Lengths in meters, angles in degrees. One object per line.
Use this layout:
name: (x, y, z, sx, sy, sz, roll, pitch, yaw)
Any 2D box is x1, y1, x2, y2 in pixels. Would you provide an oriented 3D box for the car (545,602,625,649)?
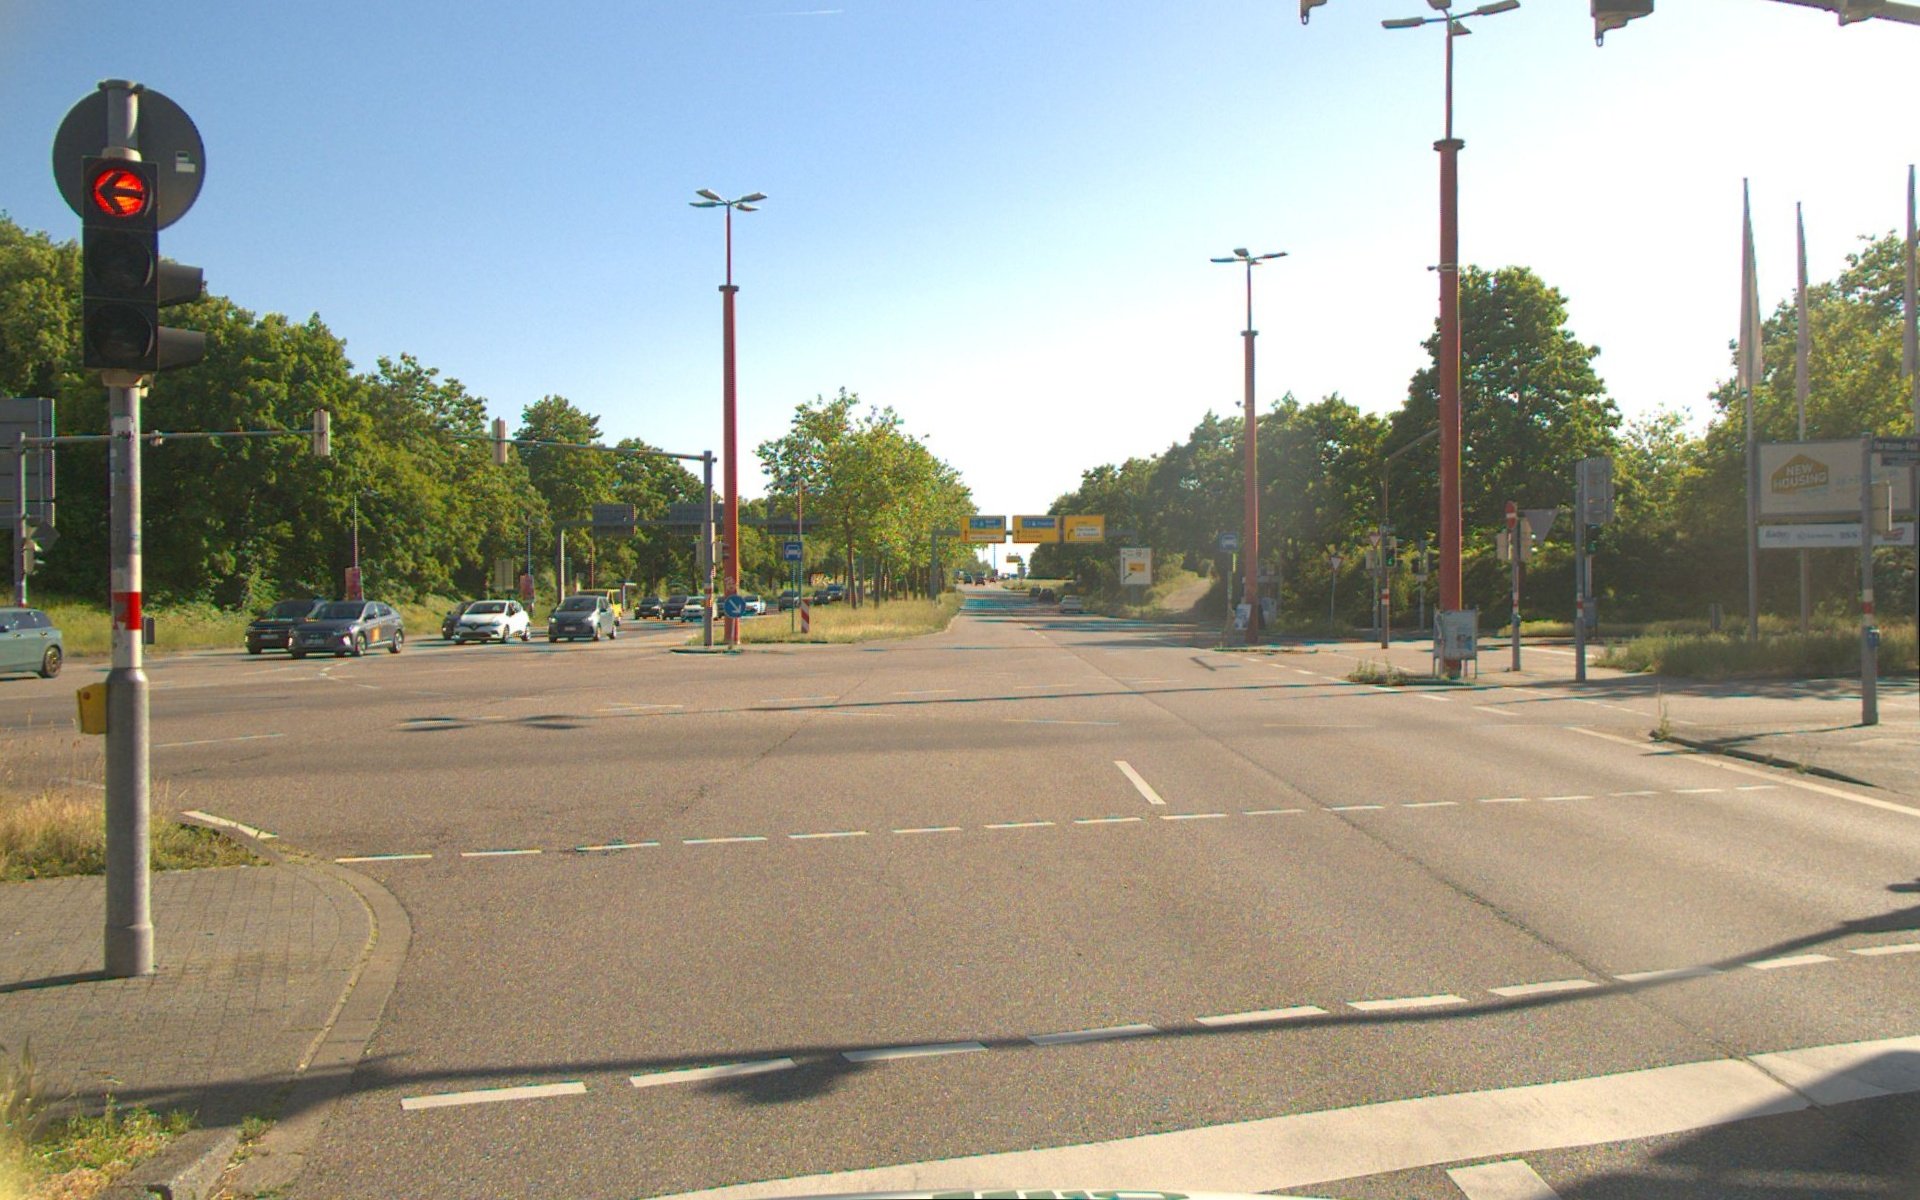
car: (-12.563, 0.829, 55.636, 1.666, 1.446, 4.000, 3, 0, 1)

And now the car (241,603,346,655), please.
car: (-20.052, 0.844, 49.917, 1.512, 1.458, 3.886, -1, 0, 1)

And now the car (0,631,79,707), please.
car: (-19.117, 1.343, 32.403, 1.400, 1.412, 4.140, 1, 0, 2)

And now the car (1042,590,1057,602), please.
car: (10.451, -0.465, 193.272, 1.702, 1.365, 3.082, 0, 0, 1)

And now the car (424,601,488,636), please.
car: (-19.592, 0.718, 64.432, 1.424, 1.296, 3.612, 1, 0, -1)

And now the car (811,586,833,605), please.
car: (-13.169, -0.402, 158.397, 1.622, 1.778, 4.001, 1, 0, 2)

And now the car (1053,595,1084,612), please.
car: (8.813, 0.268, 134.805, 2.013, 1.395, 4.389, 0, 0, -3)

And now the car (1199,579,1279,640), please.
car: (9.139, 0.296, 54.002, 1.952, 1.920, 4.001, 0, 0, 19)

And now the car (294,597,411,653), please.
car: (-16.019, 0.633, 43.821, 1.516, 1.401, 4.262, 0, 0, 0)

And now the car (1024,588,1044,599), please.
car: (9.710, -0.853, 217.518, 1.955, 1.523, 3.994, 0, 0, -7)

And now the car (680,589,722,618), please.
car: (-15.034, 0.191, 96.274, 1.668, 1.624, 4.001, 1, 0, 2)

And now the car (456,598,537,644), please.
car: (-15.693, 0.689, 56.209, 1.572, 1.485, 3.951, 0, 0, 1)

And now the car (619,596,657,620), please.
car: (-23.037, 0.592, 118.538, 1.953, 1.667, 3.999, 1, 0, -1)

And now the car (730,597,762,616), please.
car: (-15.531, 0.470, 120.321, 1.963, 1.330, 3.998, 0, 0, -2)

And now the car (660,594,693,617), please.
car: (-18.956, 0.352, 110.787, 1.595, 1.476, 3.434, 1, 0, 0)

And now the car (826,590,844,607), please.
car: (-13.624, -0.144, 180.049, 1.574, 1.761, 3.789, 1, 0, 1)

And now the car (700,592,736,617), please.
car: (-15.844, 0.294, 108.377, 1.668, 1.586, 3.804, 1, 0, 1)

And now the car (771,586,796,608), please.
car: (-15.127, -0.261, 141.712, 1.592, 1.769, 4.001, 0, 0, 1)
